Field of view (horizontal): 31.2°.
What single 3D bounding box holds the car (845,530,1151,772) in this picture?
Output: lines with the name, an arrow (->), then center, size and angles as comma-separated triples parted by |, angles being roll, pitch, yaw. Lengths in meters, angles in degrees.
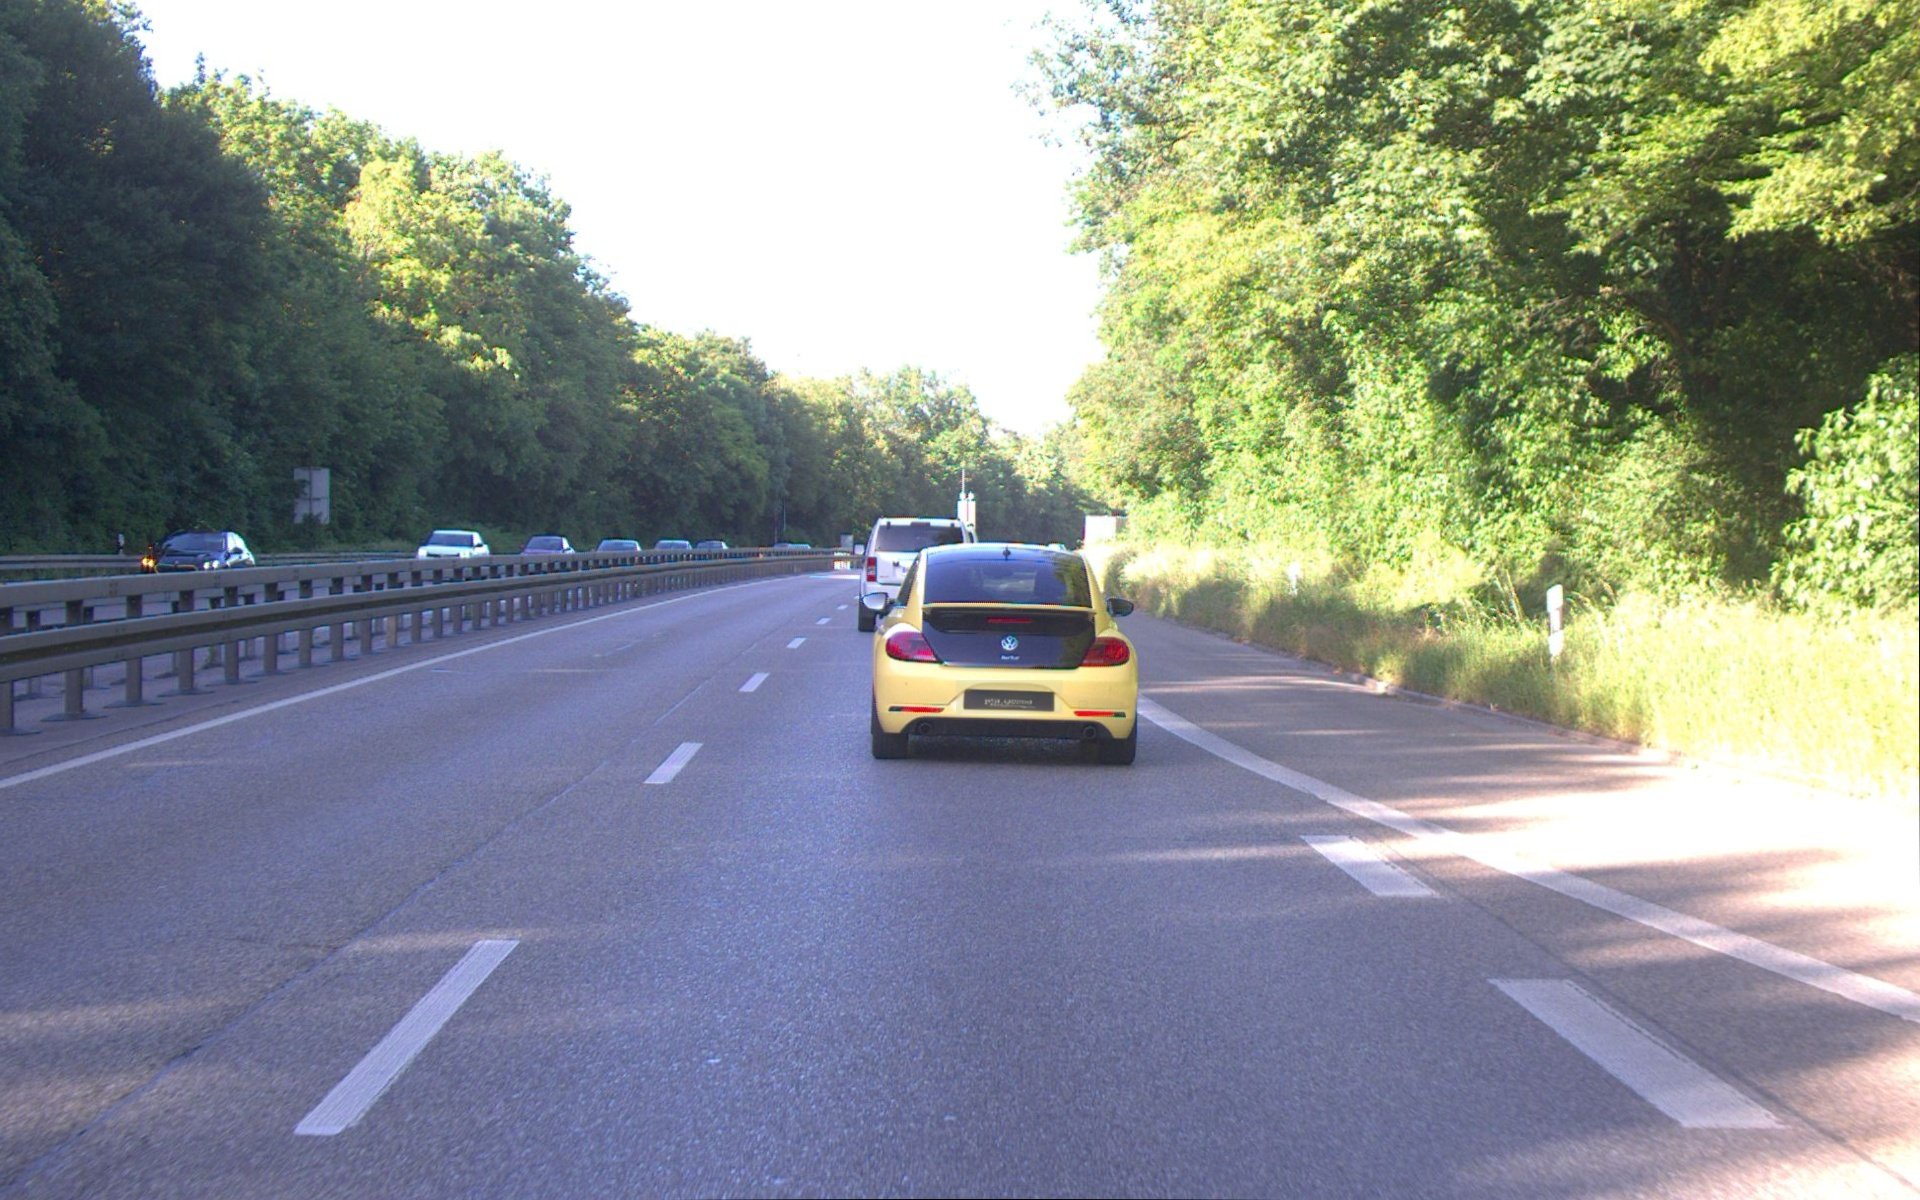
car -> 0.331, 0.300, 24.128 | 1.939, 1.503, 3.422 | 2, 1, 3

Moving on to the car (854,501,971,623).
car -> -0.759, -0.606, 53.470 | 1.741, 1.823, 3.423 | 1, 1, -2

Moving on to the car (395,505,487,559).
car -> -16.340, -2.135, 108.439 | 1.994, 1.617, 4.789 | -1, 1, 2

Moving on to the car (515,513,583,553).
car -> -15.475, -2.516, 129.642 | 1.993, 1.459, 4.000 | -1, 1, 1

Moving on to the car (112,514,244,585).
car -> -17.047, -1.113, 75.099 | 1.993, 1.481, 4.000 | -1, 1, -1
